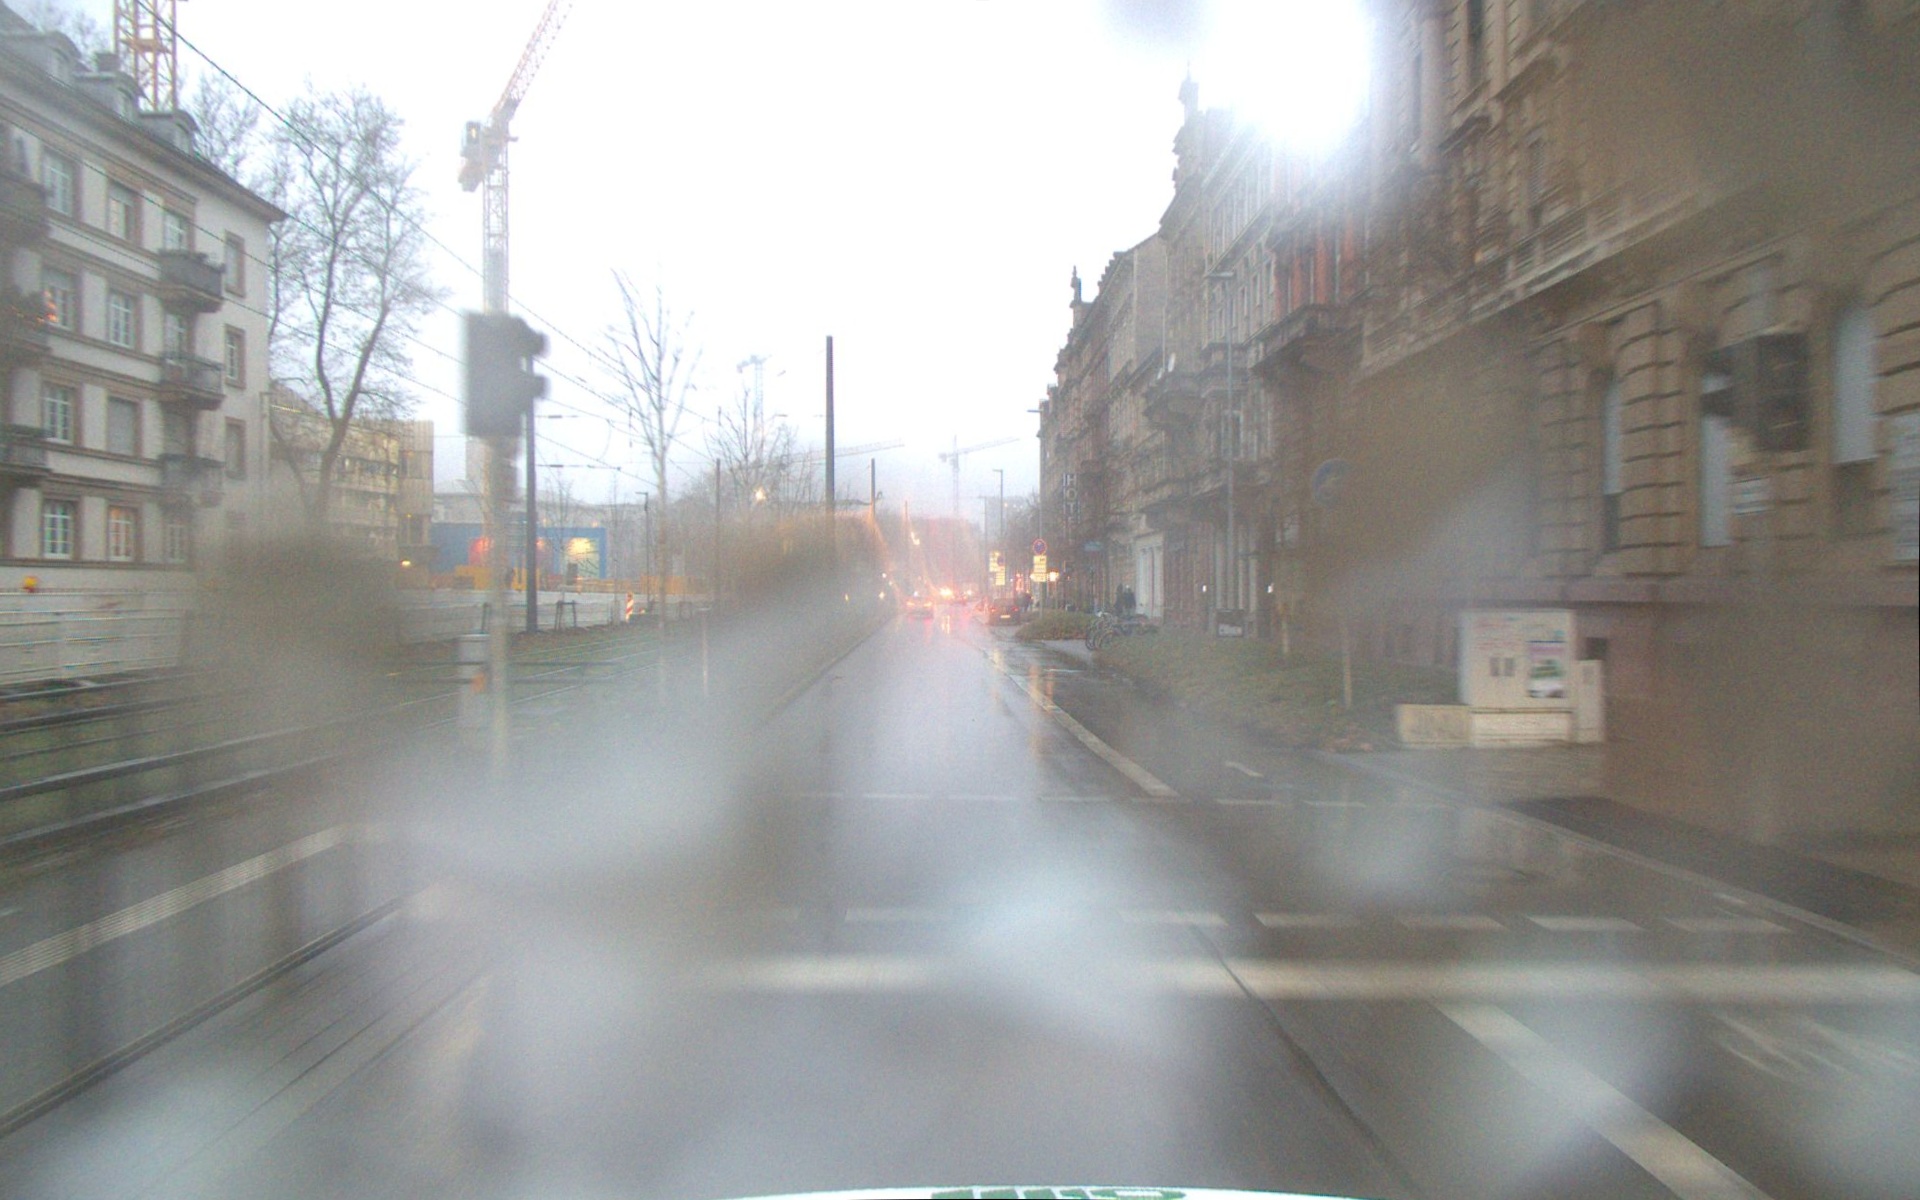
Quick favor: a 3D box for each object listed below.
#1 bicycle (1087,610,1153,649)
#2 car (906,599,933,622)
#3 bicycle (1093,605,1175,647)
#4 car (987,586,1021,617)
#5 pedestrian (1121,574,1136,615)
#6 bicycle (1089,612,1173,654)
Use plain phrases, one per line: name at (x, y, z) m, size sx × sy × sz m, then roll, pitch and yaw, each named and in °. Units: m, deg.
bicycle at (4.575, 0.849, 47.244) m, size 1.814 × 1.077 × 0.471 m, roll -1°, pitch 0°, yaw -4°
car at (-2.741, 0.688, 112.066) m, size 1.747 × 1.492 × 3.148 m, roll 0°, pitch 0°, yaw 0°
bicycle at (4.583, 0.688, 43.586) m, size 2.106 × 1.076 × 0.525 m, roll -1°, pitch 0°, yaw -8°
car at (2.376, 0.050, 90.054) m, size 1.762 × 1.632 × 3.770 m, roll -1°, pitch 0°, yaw 1°
pedestrian at (7.468, -0.237, 73.237) m, size 0.590 × 1.817 × 0.528 m, roll -1°, pitch 0°, yaw -1°
bicycle at (4.616, 0.887, 44.811) m, size 2.204 × 1.076 × 0.525 m, roll -1°, pitch 0°, yaw -4°
